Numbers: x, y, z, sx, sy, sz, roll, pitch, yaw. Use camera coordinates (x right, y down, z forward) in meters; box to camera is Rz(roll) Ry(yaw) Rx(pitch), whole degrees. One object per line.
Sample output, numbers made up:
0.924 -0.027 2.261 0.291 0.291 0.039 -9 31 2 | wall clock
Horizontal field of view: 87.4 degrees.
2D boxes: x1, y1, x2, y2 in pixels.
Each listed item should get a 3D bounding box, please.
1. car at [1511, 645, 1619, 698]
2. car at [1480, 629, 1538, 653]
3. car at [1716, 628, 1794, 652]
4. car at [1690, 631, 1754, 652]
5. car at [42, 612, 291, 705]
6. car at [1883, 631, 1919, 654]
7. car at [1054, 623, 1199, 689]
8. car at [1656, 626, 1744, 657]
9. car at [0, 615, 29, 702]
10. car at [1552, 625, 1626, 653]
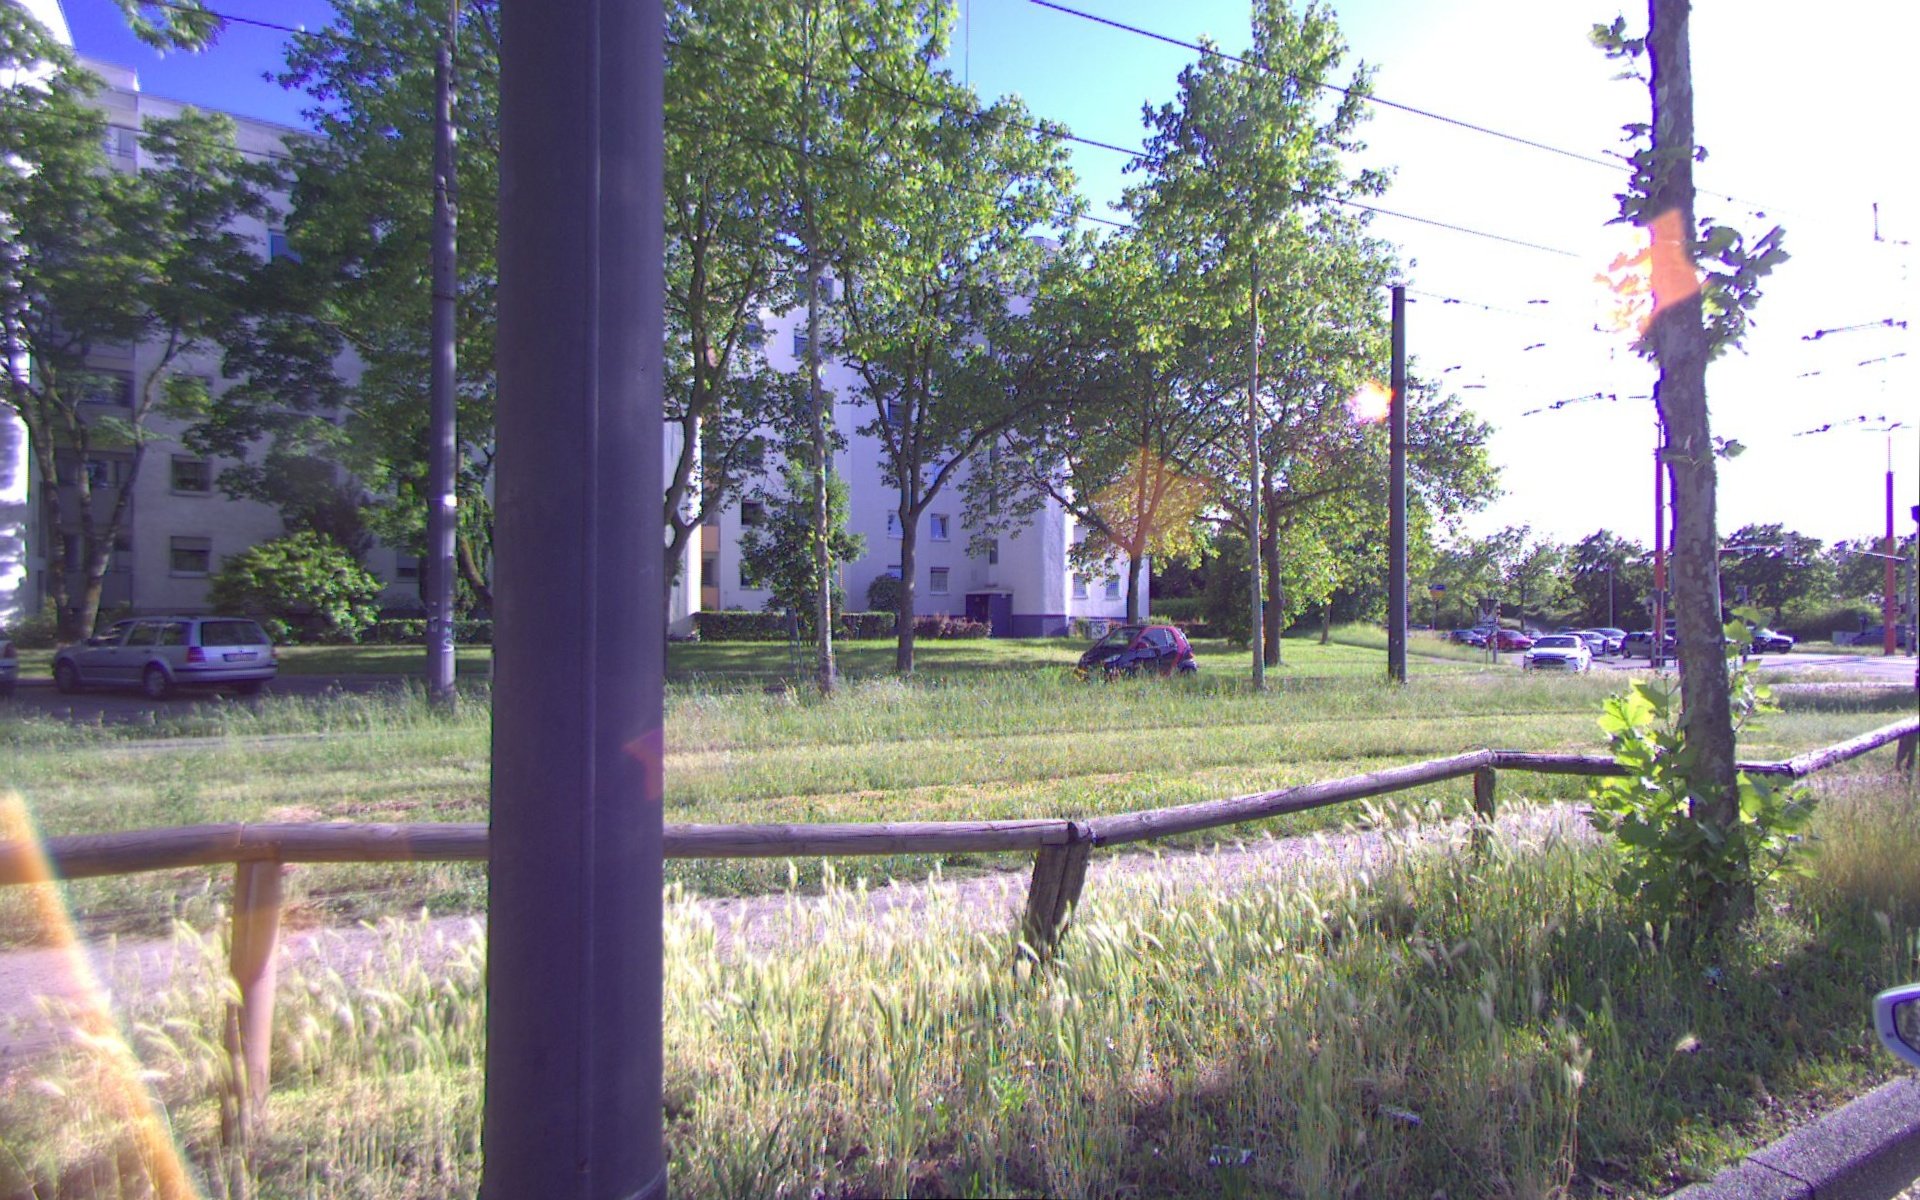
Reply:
22.547 2.605 37.362 4.804 1.754 1.977 2 -1 -39 | car
38.462 2.853 70.455 1.699 1.533 3.998 1 -1 -4 | car
48.787 2.426 61.742 1.664 1.347 4.001 1 -1 2 | car
45.776 2.482 60.380 1.499 1.214 3.171 1 -1 2 | car
-14.569 1.014 18.477 3.898 1.462 1.710 1 0 18 | car
64.132 2.868 67.011 1.570 1.493 3.746 1 -1 -3 | car
3.847 1.250 23.226 2.816 1.409 1.790 1 -1 -30 | car
42.520 2.342 57.816 1.962 1.666 3.997 1 -1 -5 | car
-17.960 0.969 17.090 3.547 1.439 1.576 1 0 18 | car
39.026 2.377 62.442 1.833 1.633 4.185 1 -1 -4 | car
